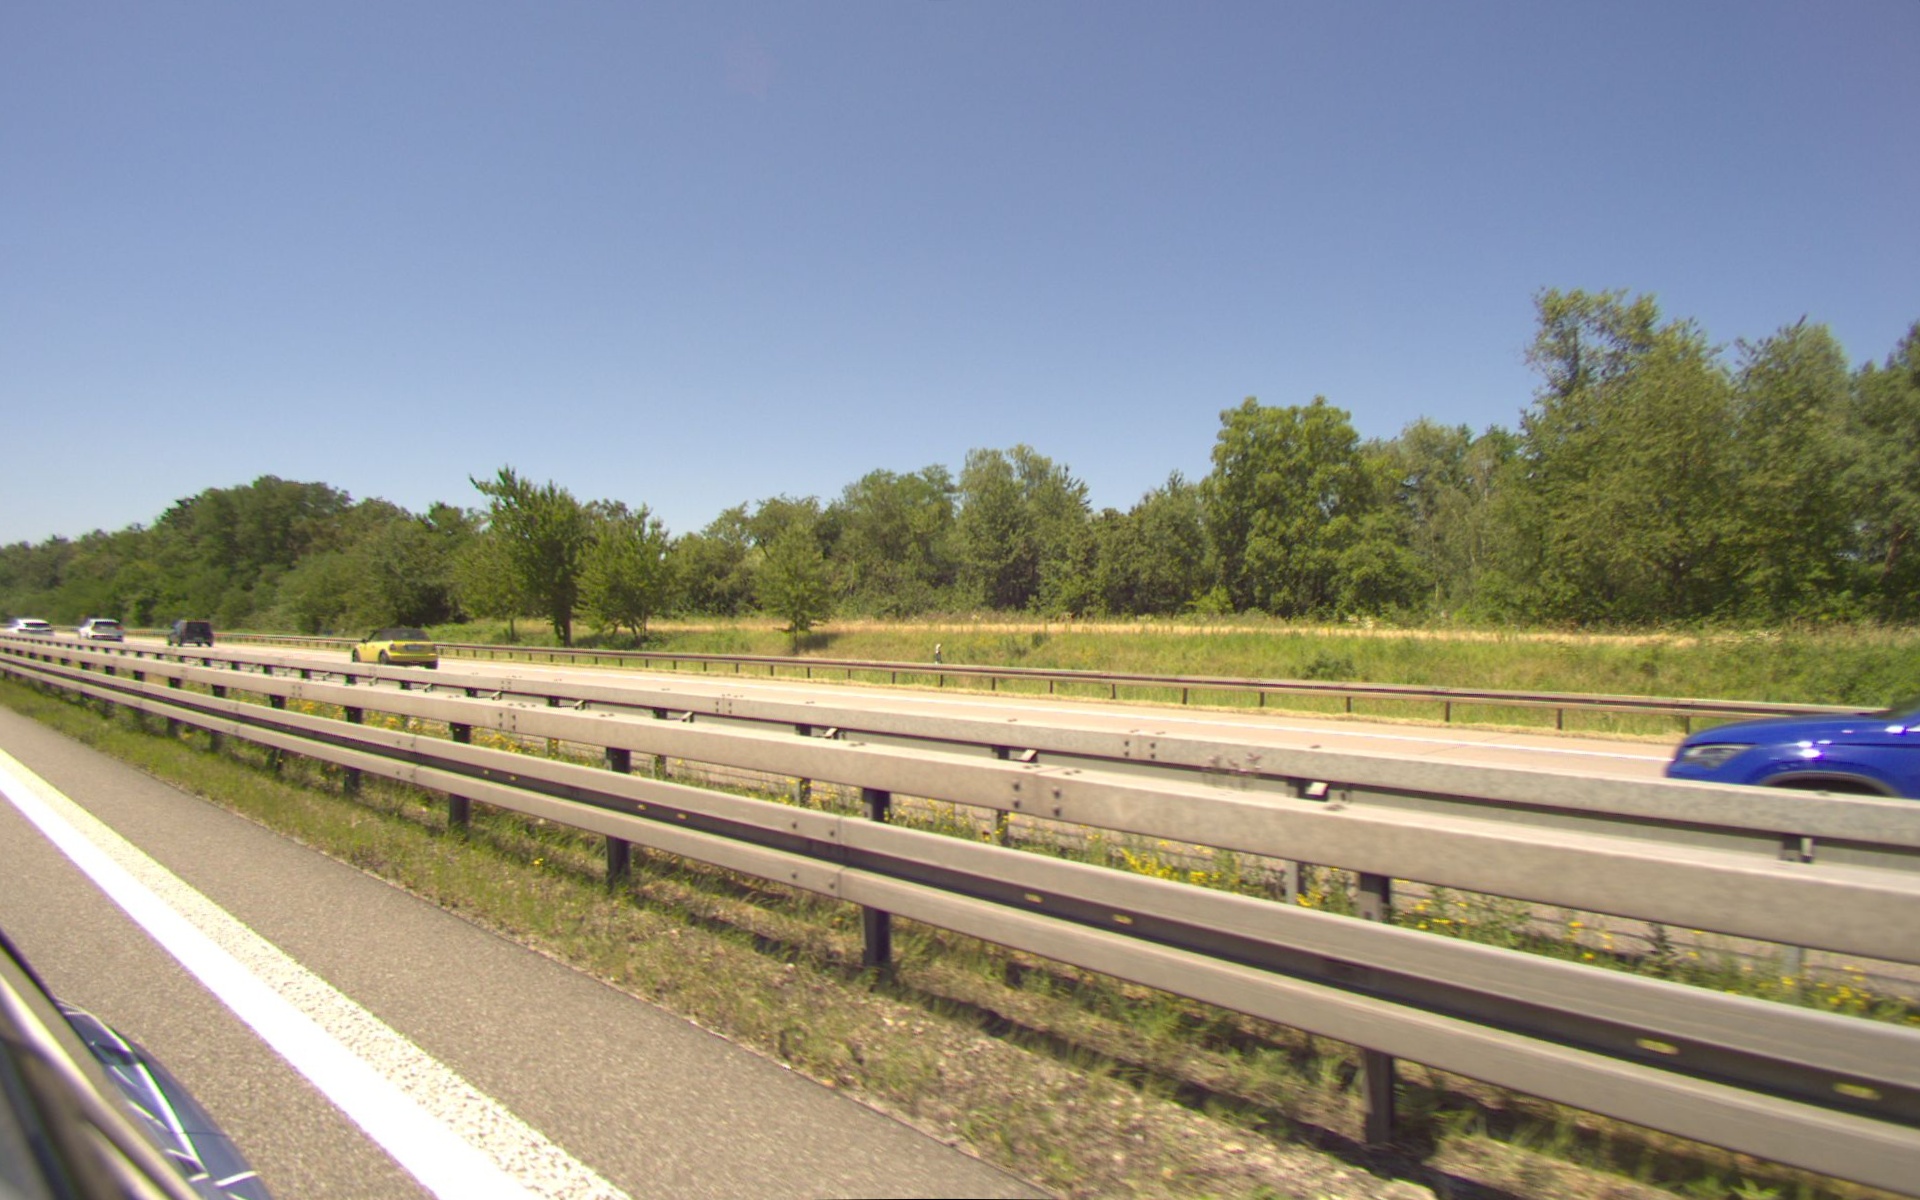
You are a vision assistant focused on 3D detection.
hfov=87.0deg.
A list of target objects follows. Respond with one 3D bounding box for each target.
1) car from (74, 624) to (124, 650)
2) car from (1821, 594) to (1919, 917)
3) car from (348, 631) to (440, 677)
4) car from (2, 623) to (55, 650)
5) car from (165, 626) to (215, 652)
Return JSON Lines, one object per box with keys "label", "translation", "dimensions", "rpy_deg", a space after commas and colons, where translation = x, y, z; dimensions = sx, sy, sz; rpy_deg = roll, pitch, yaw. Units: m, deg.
{"label": "car", "translation": [-54.811, 2.331, 64.432], "dimensions": [3.887, 1.597, 1.816], "rpy_deg": [-1, -4, 41]}
{"label": "car", "translation": [7.025, 0.864, 5.165], "dimensions": [3.984, 1.764, 1.749], "rpy_deg": [-1, -3, 41]}
{"label": "car", "translation": [-18.925, 1.790, 33.778], "dimensions": [3.475, 1.439, 1.565], "rpy_deg": [-1, -3, 41]}
{"label": "car", "translation": [-54.379, 2.131, 59.044], "dimensions": [4.236, 1.504, 1.776], "rpy_deg": [-1, -4, 41]}
{"label": "car", "translation": [-48.991, 2.466, 64.383], "dimensions": [3.900, 1.606, 1.714], "rpy_deg": [-1, -4, 41]}
